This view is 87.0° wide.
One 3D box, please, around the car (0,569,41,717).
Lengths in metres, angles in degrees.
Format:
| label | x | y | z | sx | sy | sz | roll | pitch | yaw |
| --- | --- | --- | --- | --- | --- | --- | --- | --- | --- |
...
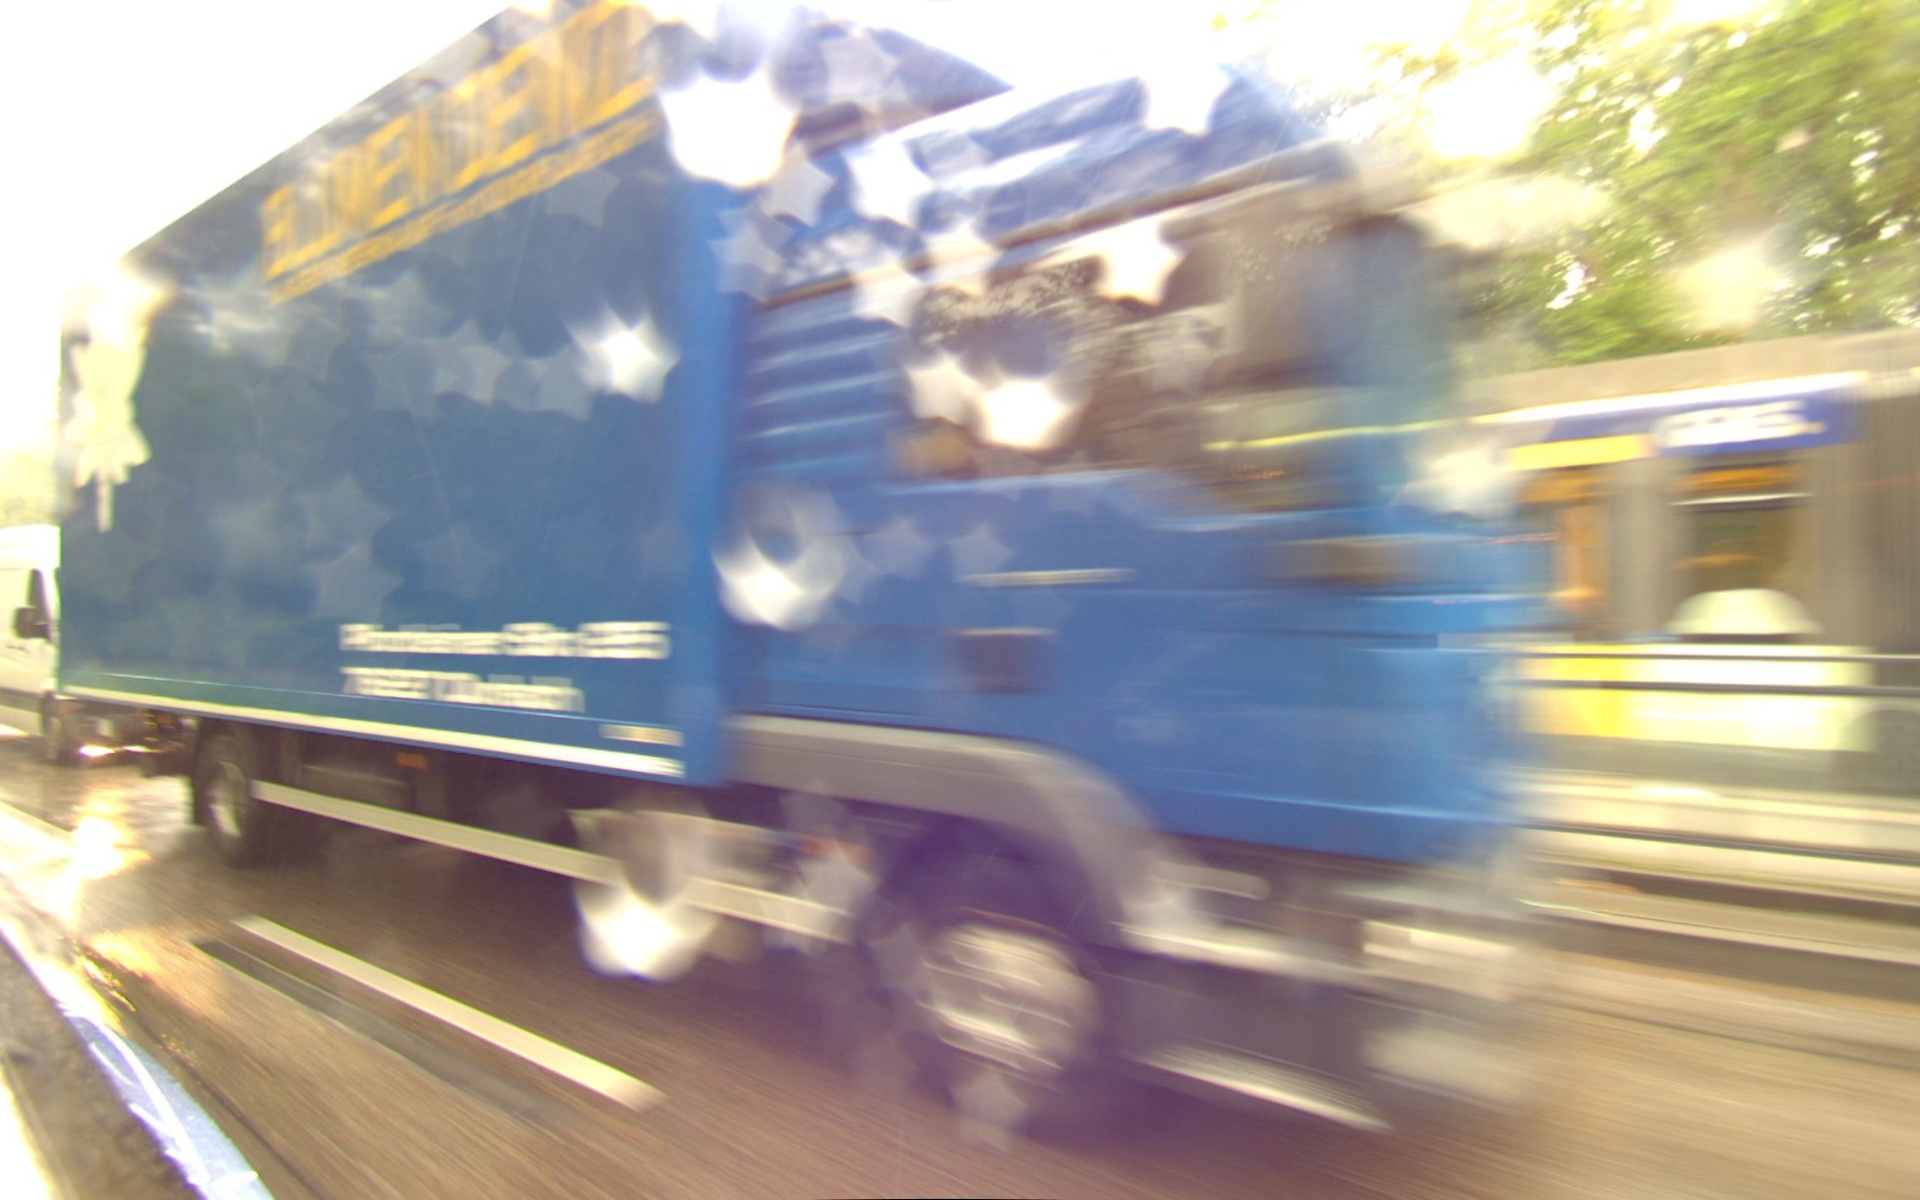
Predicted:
| label | x | y | z | sx | sy | sz | roll | pitch | yaw |
| --- | --- | --- | --- | --- | --- | --- | --- | --- | --- |
| car | -17.264 | 0.666 | 16.838 | 5.279 | 2.279 | 1.975 | 0 | 0 | 37 |

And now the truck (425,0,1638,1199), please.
| label | x | y | z | sx | sy | sz | roll | pitch | yaw |
| --- | --- | --- | --- | --- | --- | --- | --- | --- | --- |
| truck | 0.200 | -0.505 | 3.995 | 3.991 | 3.934 | 2.558 | -1 | -1 | 35 |

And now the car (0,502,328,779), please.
| label | x | y | z | sx | sy | sz | roll | pitch | yaw |
| --- | --- | --- | --- | --- | --- | --- | --- | --- | --- |
| car | -10.176 | 0.368 | 12.191 | 6.103 | 2.576 | 2.308 | 0 | 0 | 37 |

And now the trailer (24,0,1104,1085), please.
| label | x | y | z | sx | sy | sz | roll | pitch | yaw |
| --- | --- | --- | --- | --- | --- | --- | --- | --- | --- |
| trailer | -3.122 | -0.431 | 6.367 | 7.619 | 3.929 | 2.568 | -1 | -1 | 36 |

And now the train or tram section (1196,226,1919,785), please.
| label | x | y | z | sx | sy | sz | roll | pitch | yaw |
| --- | --- | --- | --- | --- | --- | --- | --- | --- | --- |
| train or tram section | 6.285 | -0.516 | 7.357 | 8.413 | 3.311 | 2.952 | -2 | -3 | 36 |
